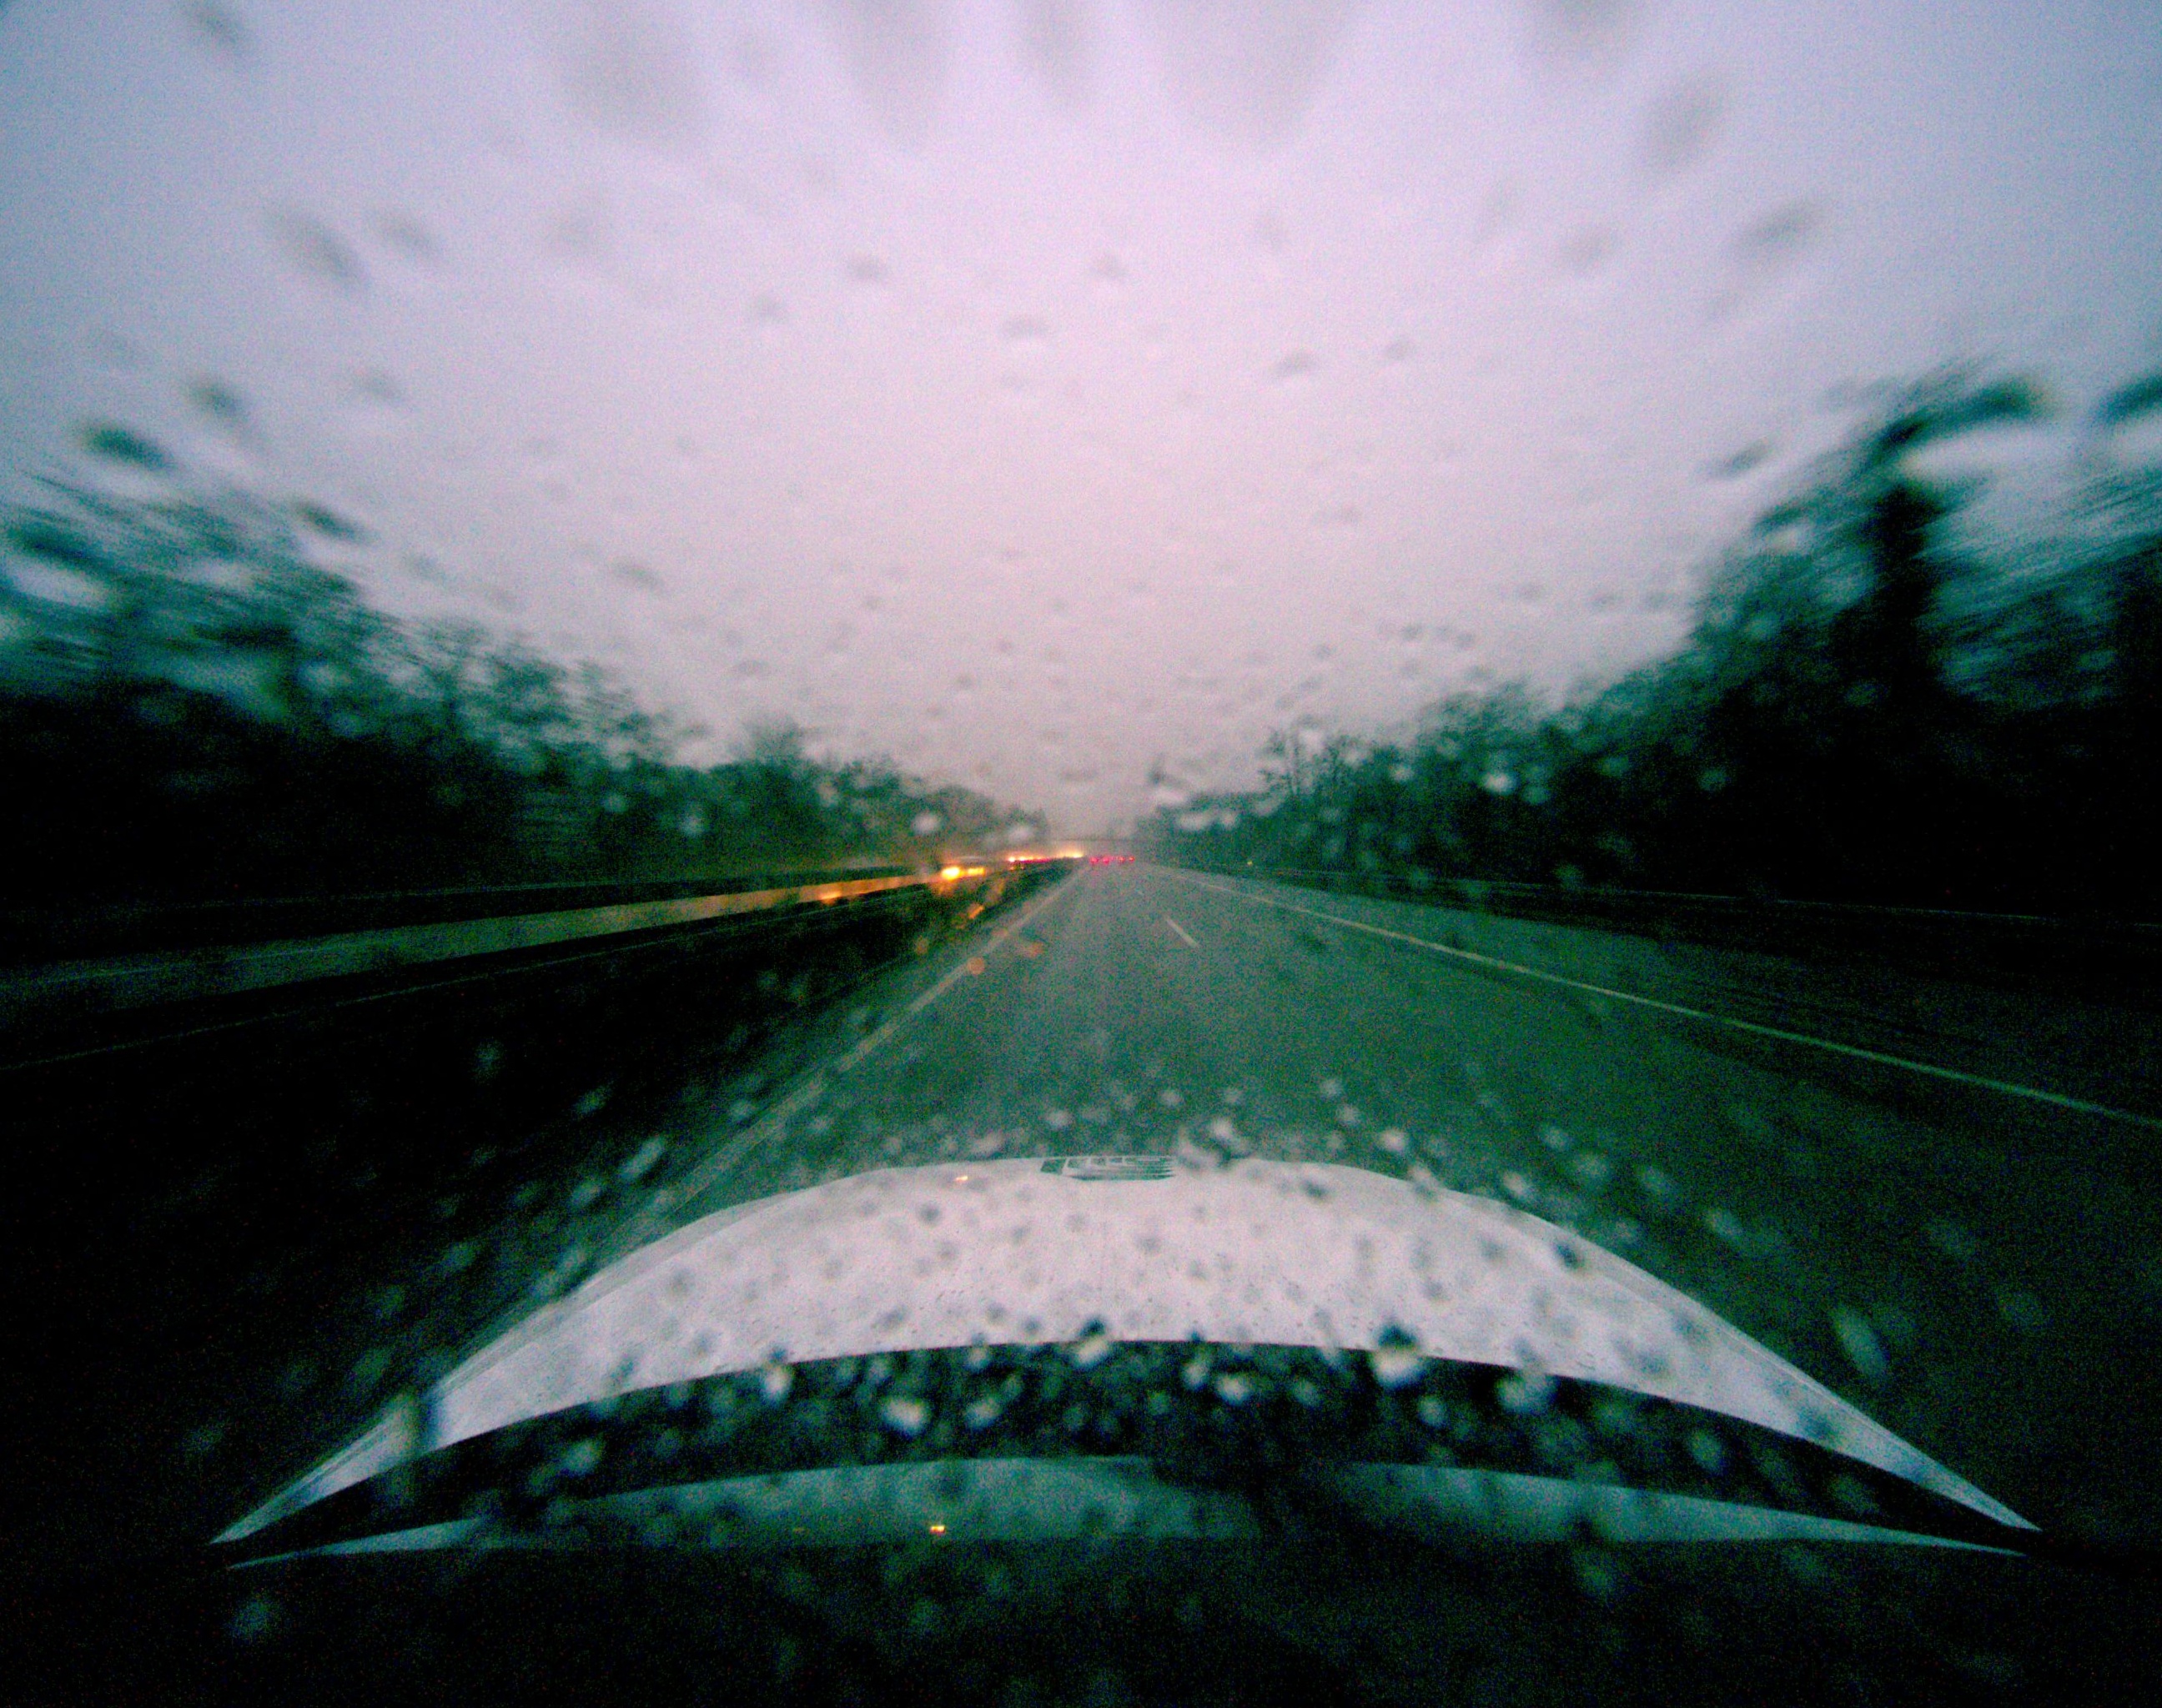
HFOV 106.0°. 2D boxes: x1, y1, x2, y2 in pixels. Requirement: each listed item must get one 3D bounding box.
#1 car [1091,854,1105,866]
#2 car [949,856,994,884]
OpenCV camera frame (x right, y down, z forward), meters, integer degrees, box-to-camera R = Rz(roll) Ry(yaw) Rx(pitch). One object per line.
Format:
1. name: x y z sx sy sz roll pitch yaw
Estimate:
1. car: 1.893 0.666 88.682 1.448 1.344 3.491 0 -1 1
2. car: -6.020 0.859 45.236 1.720 1.460 4.418 1 0 2
